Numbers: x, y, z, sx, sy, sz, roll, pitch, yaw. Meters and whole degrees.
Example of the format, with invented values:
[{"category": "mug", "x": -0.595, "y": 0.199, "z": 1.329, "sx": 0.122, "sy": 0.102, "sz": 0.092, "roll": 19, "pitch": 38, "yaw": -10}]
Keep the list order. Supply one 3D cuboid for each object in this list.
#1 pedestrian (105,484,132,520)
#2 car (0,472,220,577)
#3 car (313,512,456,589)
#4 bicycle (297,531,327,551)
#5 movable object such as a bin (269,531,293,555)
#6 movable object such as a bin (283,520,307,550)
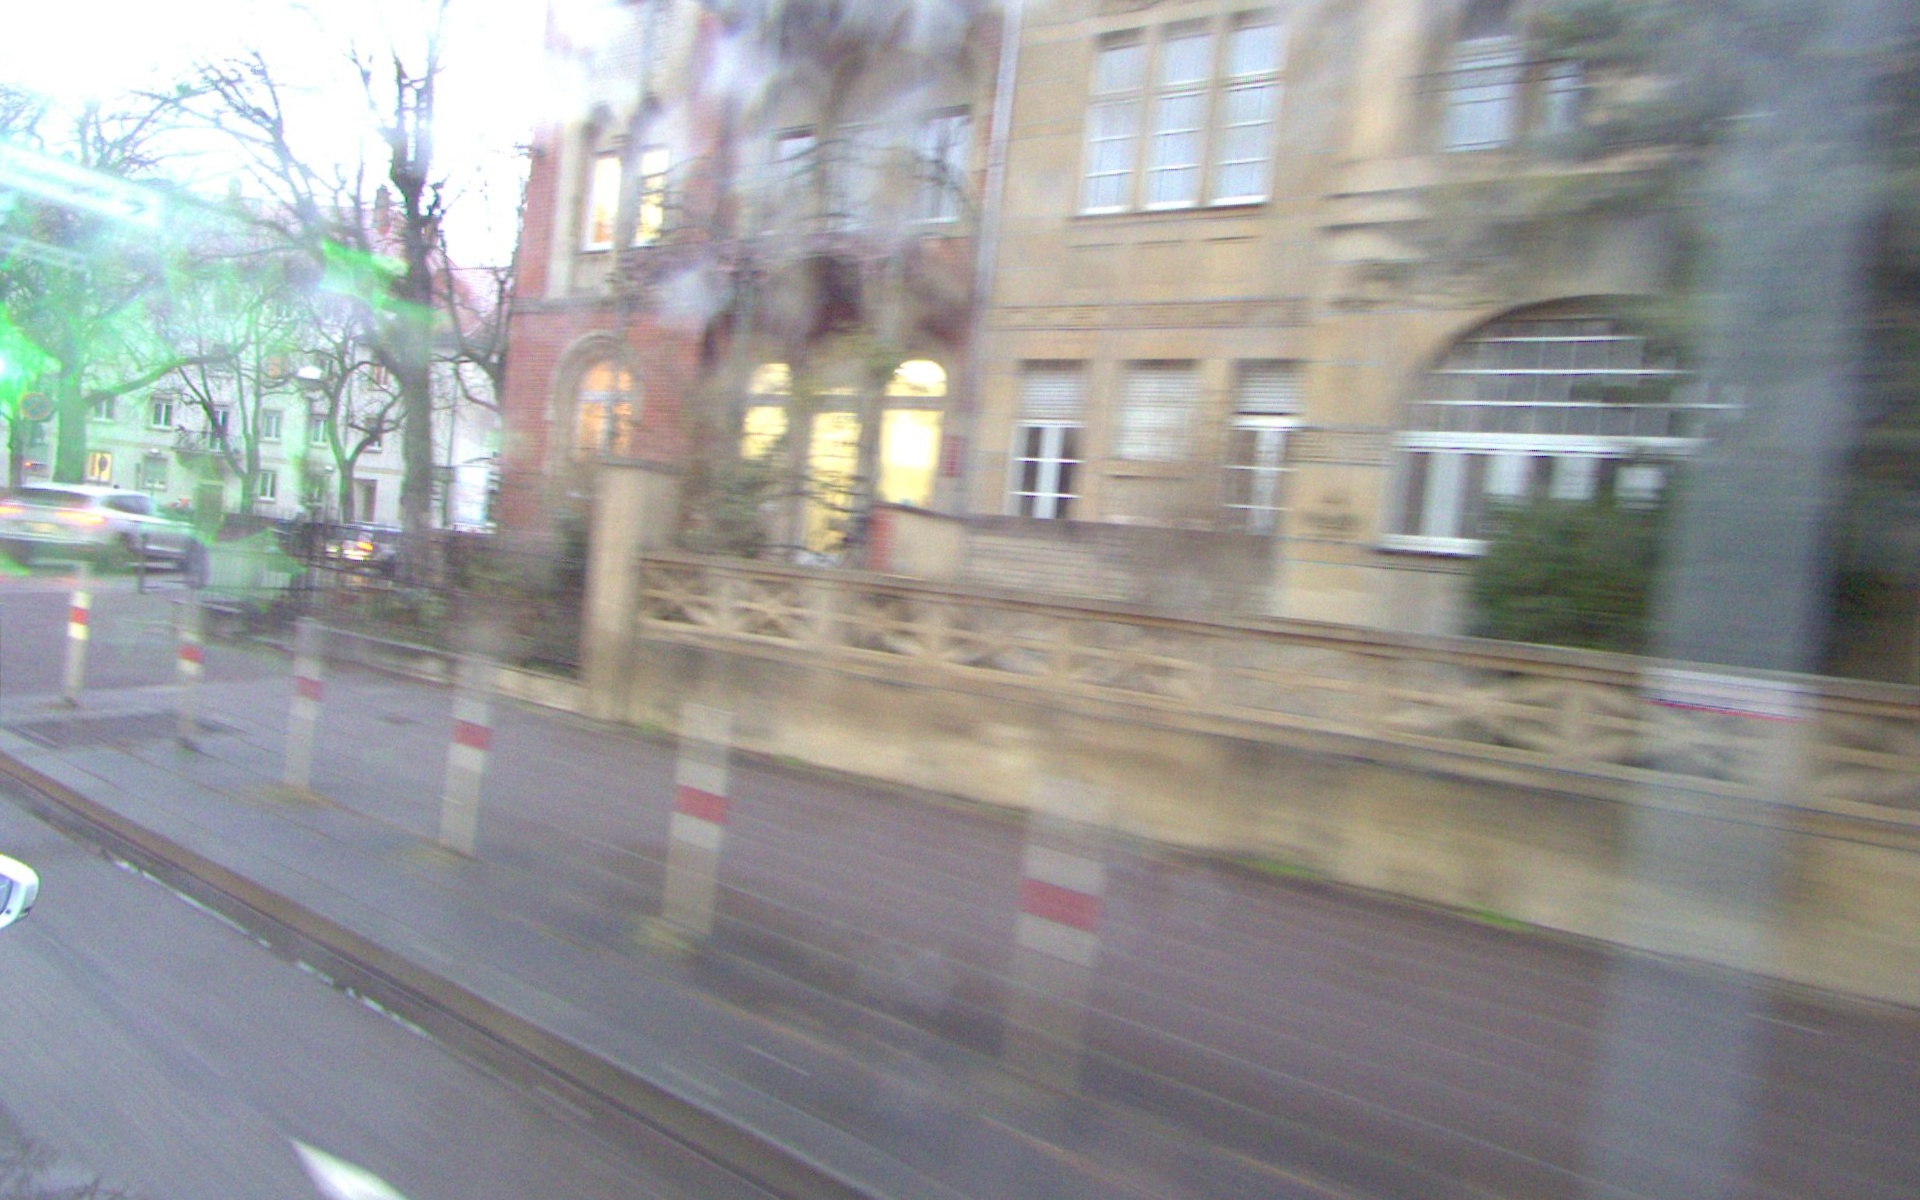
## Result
[{"category": "pedestrian", "x": -42.814, "y": -4.996, "z": 51.182, "sx": 0.701, "sy": 1.682, "sz": 0.688, "roll": 7, "pitch": 2, "yaw": 8}, {"category": "car", "x": -17.297, "y": -1.426, "z": 20.426, "sx": 1.870, "sy": 1.527, "sz": 4.742, "roll": 8, "pitch": -2, "yaw": -15}, {"category": "car", "x": -17.461, "y": -1.439, "z": 30.802, "sx": 1.775, "sy": 1.748, "sz": 4.343, "roll": 8, "pitch": -2, "yaw": -1}, {"category": "bicycle", "x": -30.208, "y": -2.747, "z": 46.859, "sx": 1.560, "sy": 0.776, "sz": 0.339, "roll": 7, "pitch": 2, "yaw": 25}, {"category": "movable object such as a bin", "x": -30.367, "y": -2.536, "z": 45.015, "sx": 0.638, "sy": 0.993, "sz": 0.528, "roll": 6, "pitch": 1, "yaw": 15}, {"category": "movable object such as a bin", "x": -29.669, "y": -2.891, "z": 44.891, "sx": 0.638, "sy": 1.244, "sz": 0.528, "roll": 6, "pitch": 1, "yaw": 15}]
